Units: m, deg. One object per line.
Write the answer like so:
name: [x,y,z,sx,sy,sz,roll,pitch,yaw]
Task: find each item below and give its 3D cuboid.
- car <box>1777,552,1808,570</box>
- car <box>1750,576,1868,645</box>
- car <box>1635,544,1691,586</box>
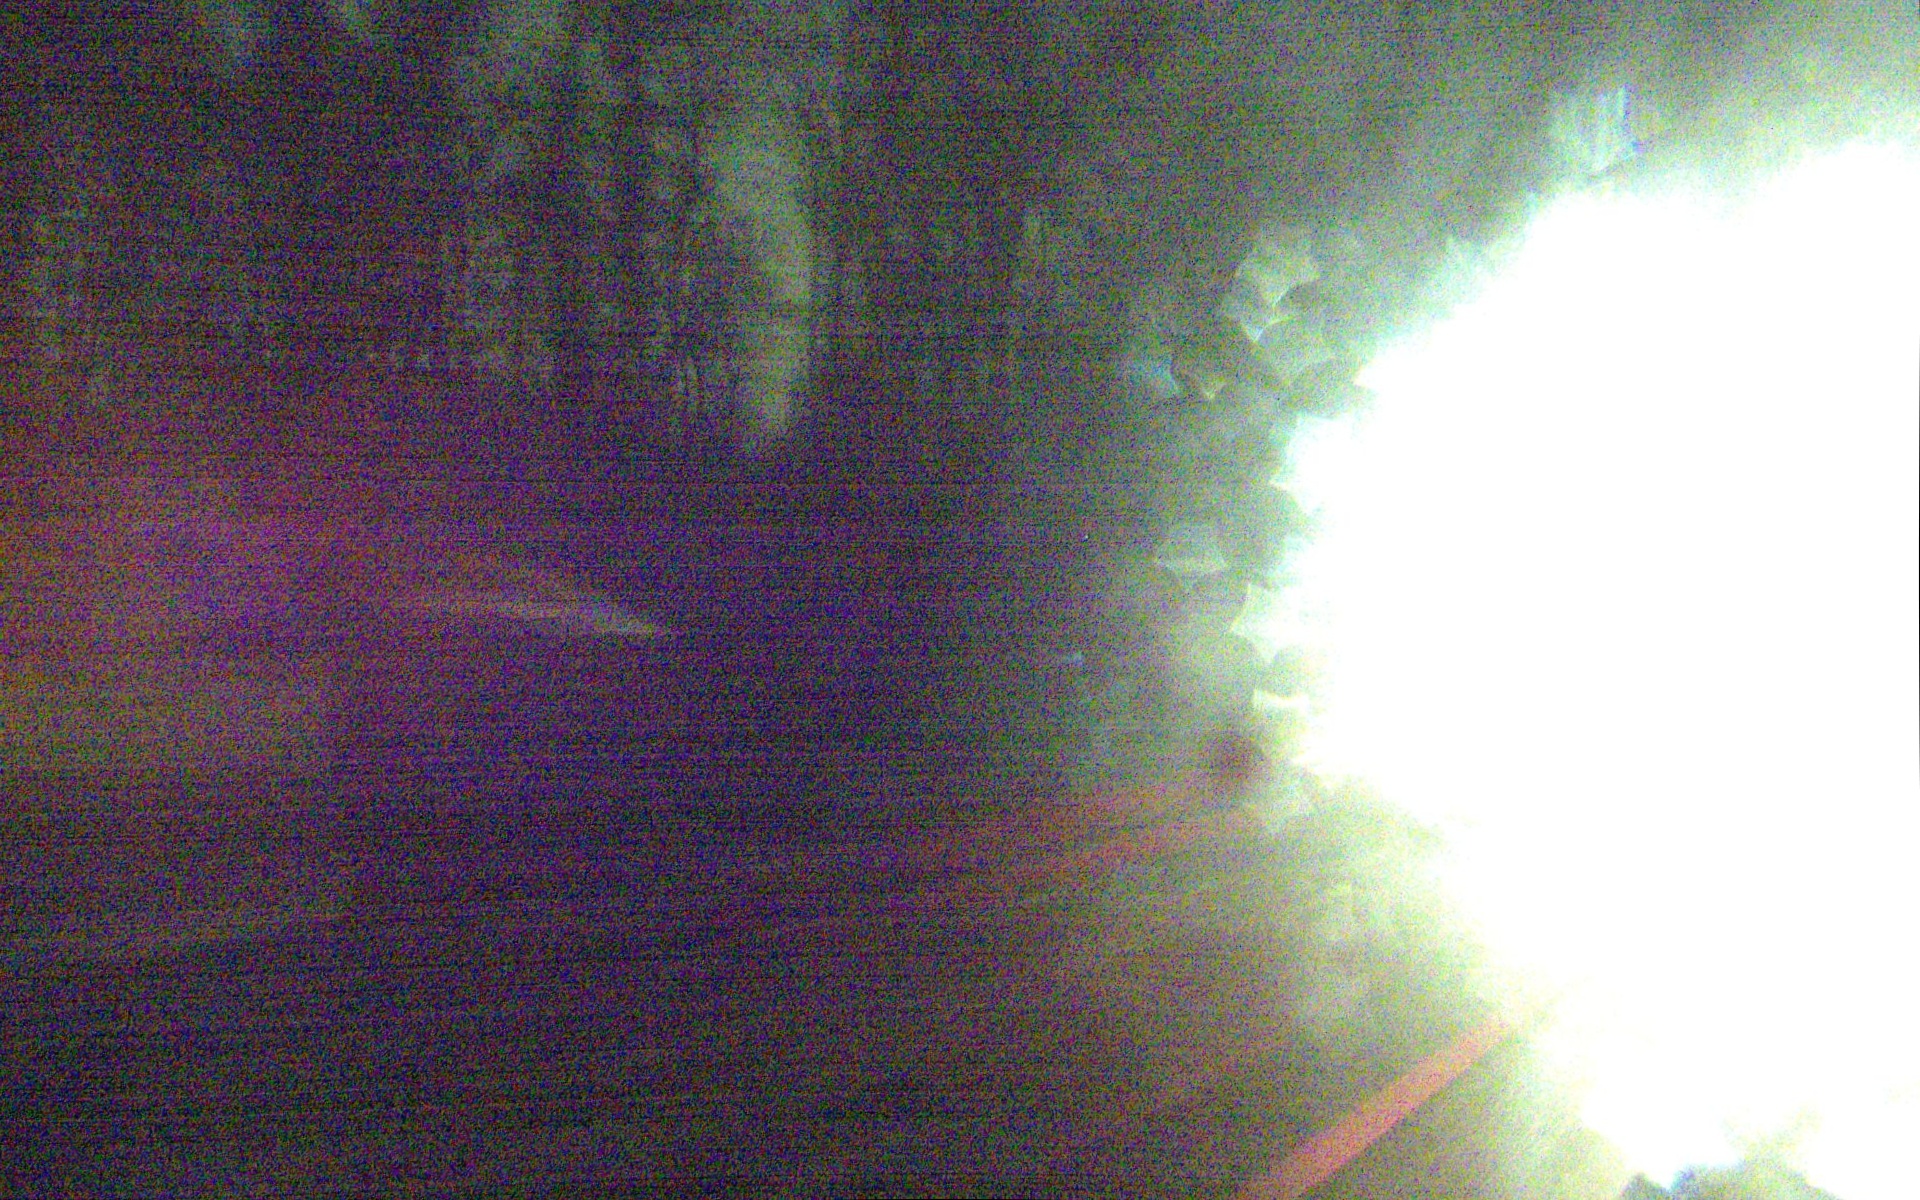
car: [103.511,-4.829,125.896,1.982,2.037,4.766,3,5,28]
car: [24.671,0.239,29.567,1.878,1.631,3.960,3,5,30]
car: [37.494,-1.828,54.046,1.982,2.039,3.959,-2,-1,29]
